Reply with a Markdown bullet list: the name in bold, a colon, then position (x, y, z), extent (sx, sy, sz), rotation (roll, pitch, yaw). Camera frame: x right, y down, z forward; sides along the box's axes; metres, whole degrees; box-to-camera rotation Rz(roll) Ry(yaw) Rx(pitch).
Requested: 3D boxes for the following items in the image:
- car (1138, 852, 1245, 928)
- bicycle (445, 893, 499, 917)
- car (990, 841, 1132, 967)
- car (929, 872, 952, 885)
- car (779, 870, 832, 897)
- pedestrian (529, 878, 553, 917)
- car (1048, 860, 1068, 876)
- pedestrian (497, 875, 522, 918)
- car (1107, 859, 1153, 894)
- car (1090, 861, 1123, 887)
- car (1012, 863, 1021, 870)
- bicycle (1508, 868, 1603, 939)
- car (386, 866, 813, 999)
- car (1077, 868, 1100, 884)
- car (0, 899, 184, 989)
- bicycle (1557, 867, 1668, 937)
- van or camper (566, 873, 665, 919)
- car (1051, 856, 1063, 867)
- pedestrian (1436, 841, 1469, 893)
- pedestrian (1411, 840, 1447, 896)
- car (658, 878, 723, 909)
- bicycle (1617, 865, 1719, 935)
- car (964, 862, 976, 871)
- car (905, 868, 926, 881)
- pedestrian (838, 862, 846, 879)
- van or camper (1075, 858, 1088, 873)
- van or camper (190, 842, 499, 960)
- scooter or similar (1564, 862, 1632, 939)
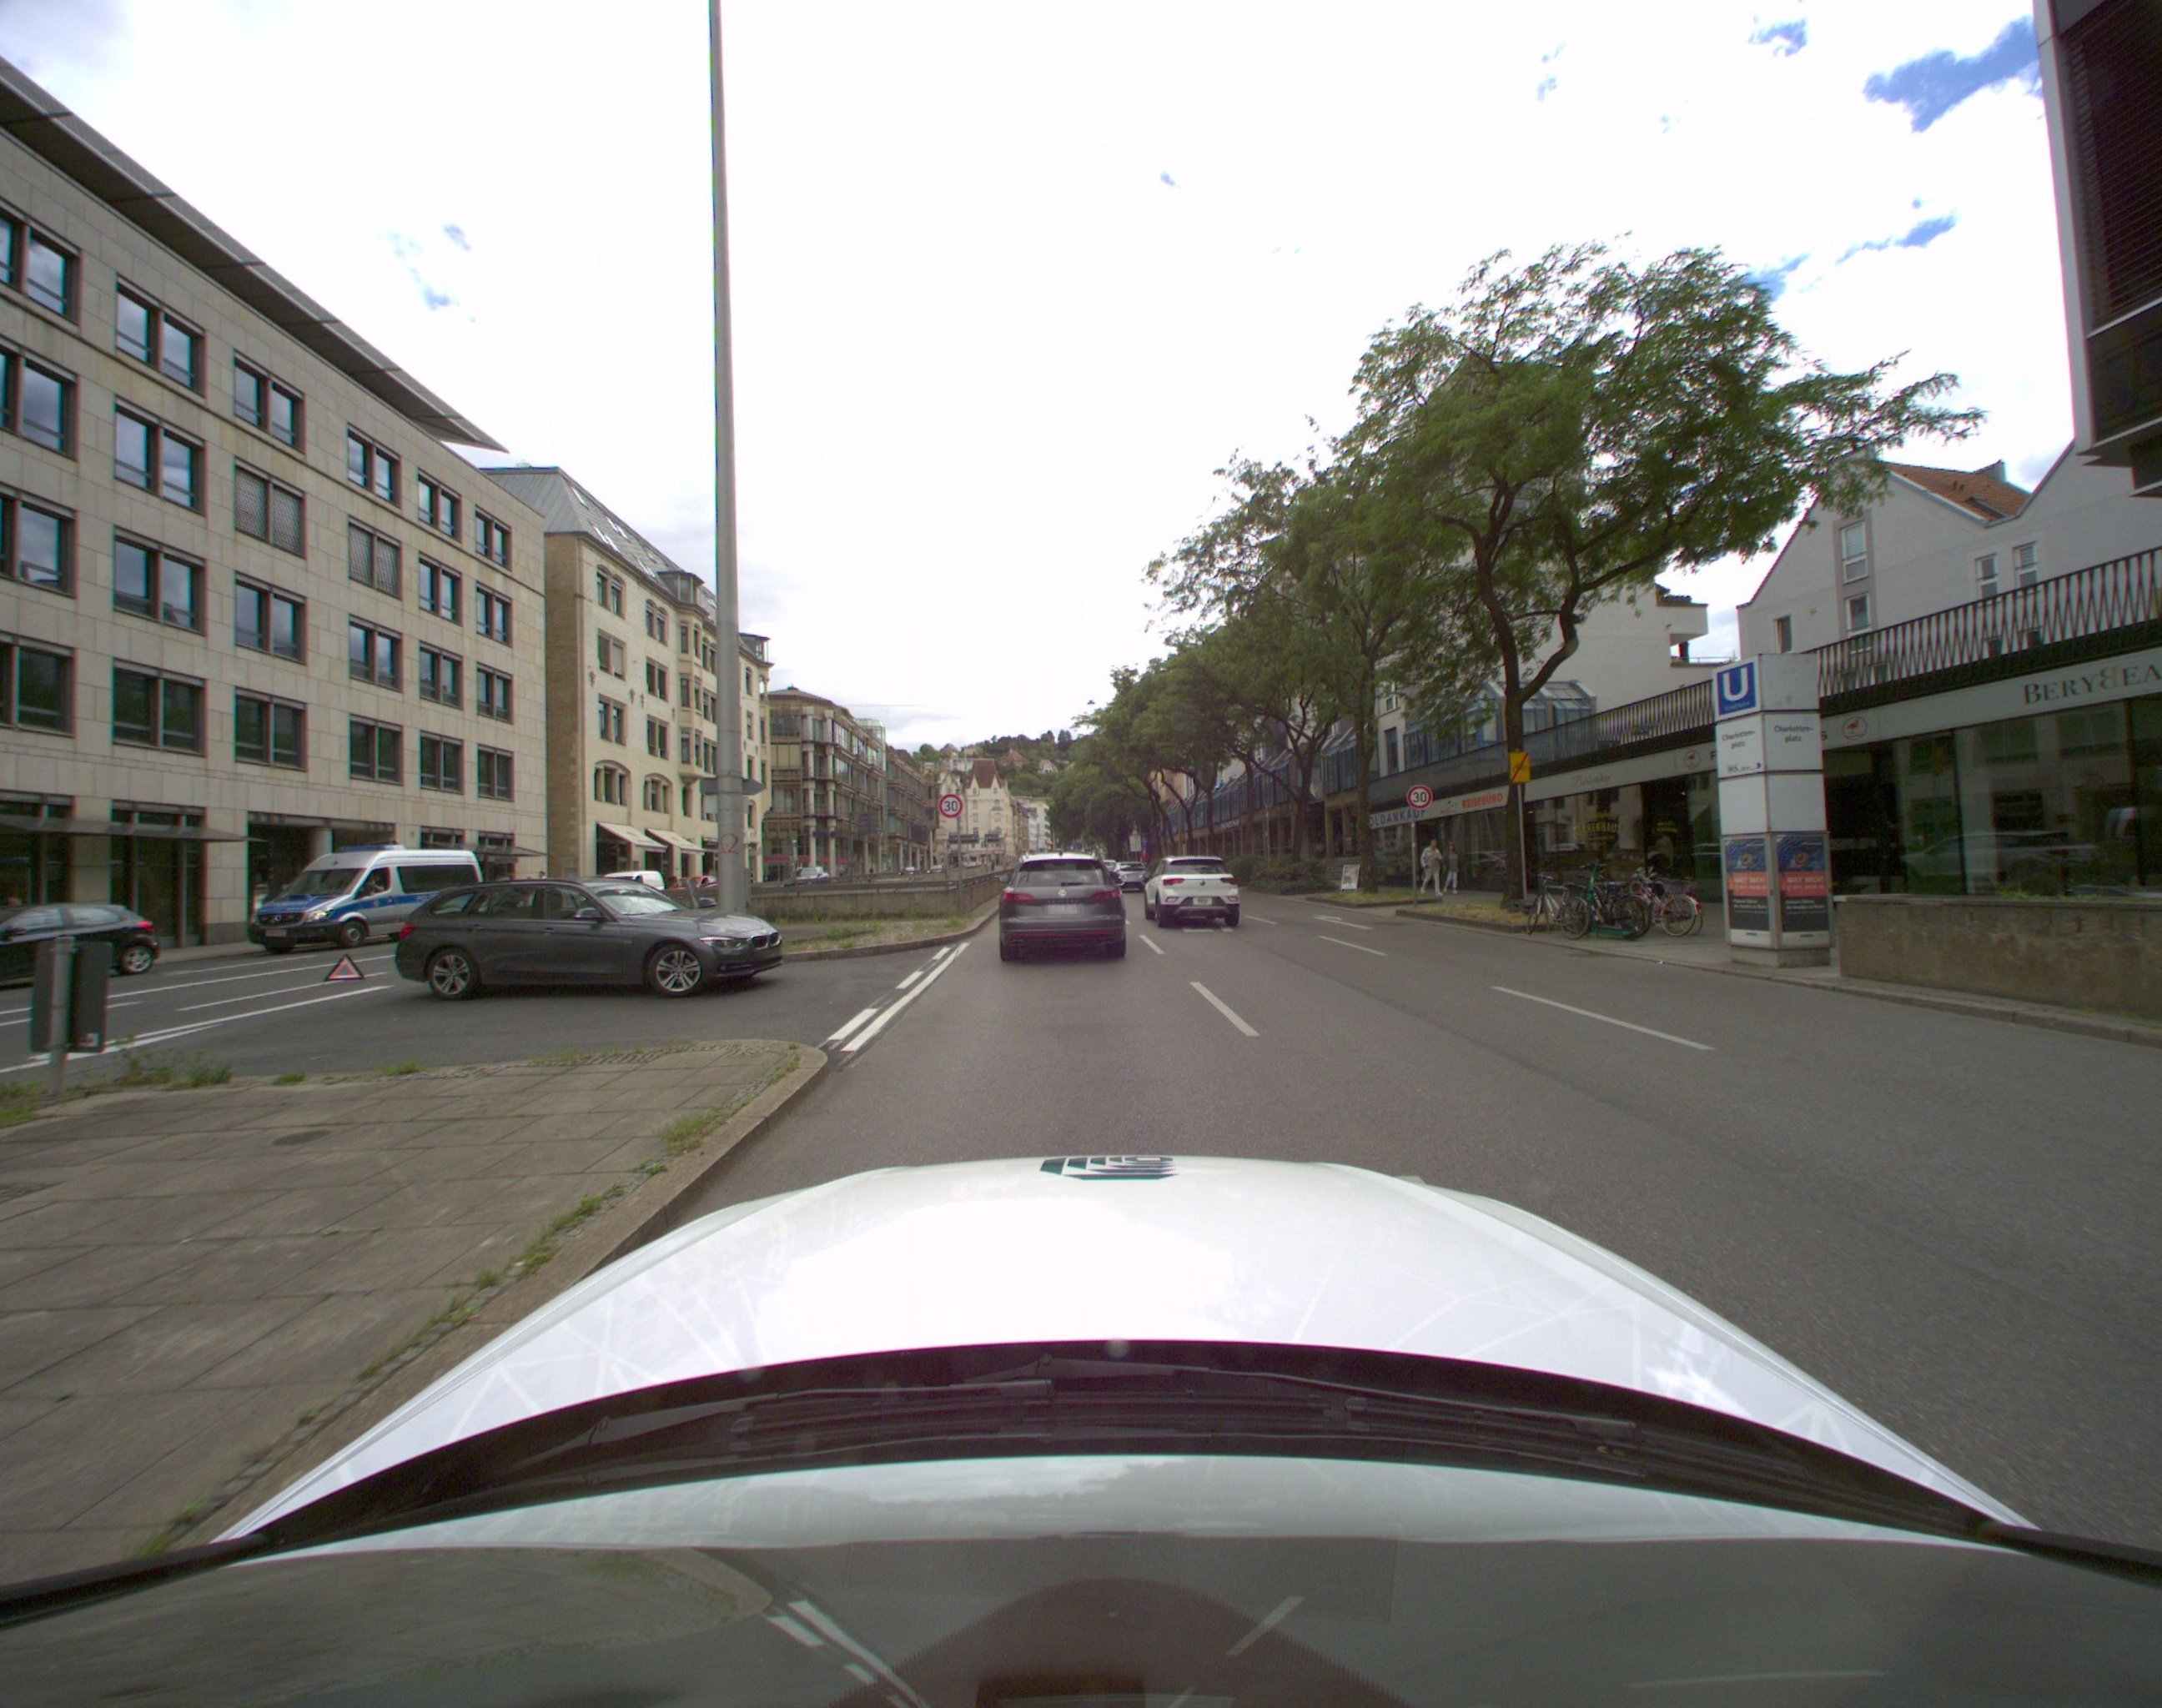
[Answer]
- **car**: position (2.458, 0.818, 19.087), extent (1.793, 1.545, 3.931), rotation (-2, -2, -2)
- **bicycle**: position (-22.447, 1.875, 30.055), extent (0.631, 0.762, 1.955), rotation (-2, -1, -5)
- **car**: position (-0.333, 0.737, 13.830), extent (1.965, 1.695, 4.222), rotation (-3, 0, -1)
- **car**: position (-18.072, 3.121, 105.039), extent (1.987, 1.585, 4.887), rotation (-2, -1, 1)
- **car**: position (-17.033, 1.802, 50.604), extent (1.914, 1.527, 4.536), rotation (-2, -1, -3)
- **pedestrian**: position (-22.362, 1.793, 33.745), extent (0.551, 1.577, 0.679), rotation (-1, -1, -3)
- **car**: position (-2.463, 1.536, 86.511), extent (1.829, 1.567, 3.761), rotation (-3, -1, -4)
- **pedestrian**: position (-23.755, 1.751, 33.829), extent (0.551, 1.753, 0.679), rotation (-1, -1, -3)
- **car**: position (2.268, 1.032, 38.653), extent (1.828, 1.432, 4.145), rotation (-1, 1, -1)
- **car**: position (1.594, 1.270, 52.656), extent (1.827, 1.517, 3.764), rotation (-2, -1, -2)
- **car**: position (-16.044, 3.162, 203.068), extent (1.988, 1.768, 4.277), rotation (-2, -1, -2)
- **bicycle**: position (8.288, 0.831, 14.324), extent (0.488, 1.132, 1.842), rotation (-2, -1, -3)
- **car**: position (-6.121, 0.965, 10.662), extent (4.527, 1.458, 1.884), rotation (-2, -1, 6)
- **car**: position (0.754, 2.002, 74.521), extent (1.824, 1.363, 3.770), rotation (-3, -1, 4)
- **car**: position (-19.653, 1.695, 15.008), extent (1.764, 1.449, 4.027), rotation (-4, -1, -2)
- **bicycle**: position (9.260, 0.799, 14.283), extent (0.489, 1.132, 1.882), rotation (-2, -1, -8)
- **van or camper**: position (-20.167, 1.764, 35.545), extent (1.863, 1.751, 4.481), rotation (-2, -1, -3)
- **car**: position (-4.039, 1.271, 136.511), extent (1.826, 1.874, 4.869), rotation (-3, -1, 0)
- **pedestrian**: position (12.074, 0.421, 26.450), extent (0.595, 1.629, 0.755), rotation (-3, -1, -8)
- **pedestrian**: position (11.198, 0.444, 26.219), extent (0.595, 1.754, 0.938), rotation (-3, -1, -7)
- **car**: position (-20.237, 2.023, 42.387), extent (1.783, 1.406, 3.578), rotation (-2, -1, -3)
- **bicycle**: position (10.152, 0.760, 14.148), extent (0.488, 1.132, 1.687), rotation (-2, -1, -1)
- **car**: position (-23.615, 2.619, 173.312), extent (1.988, 1.768, 4.277), rotation (-2, -1, -2)
- **car**: position (-21.028, 2.565, 103.719), extent (1.990, 1.464, 4.876), rotation (-2, -1, -5)
- **pedestrian**: position (-25.821, 1.804, 87.917), extent (0.531, 1.793, 0.694), rotation (3, -2, -1)
- **van or camper**: position (0.067, 2.647, 187.543), extent (2.621, 3.178, 5.797), rotation (-2, 0, -3)
- **van or camper**: position (-20.040, 1.164, 22.815), extent (2.994, 2.726, 6.241), rotation (-2, -1, -2)
- **scooter or similar**: position (8.821, 0.772, 13.927), extent (0.306, 1.251, 0.991), rotation (-2, -1, -15)
